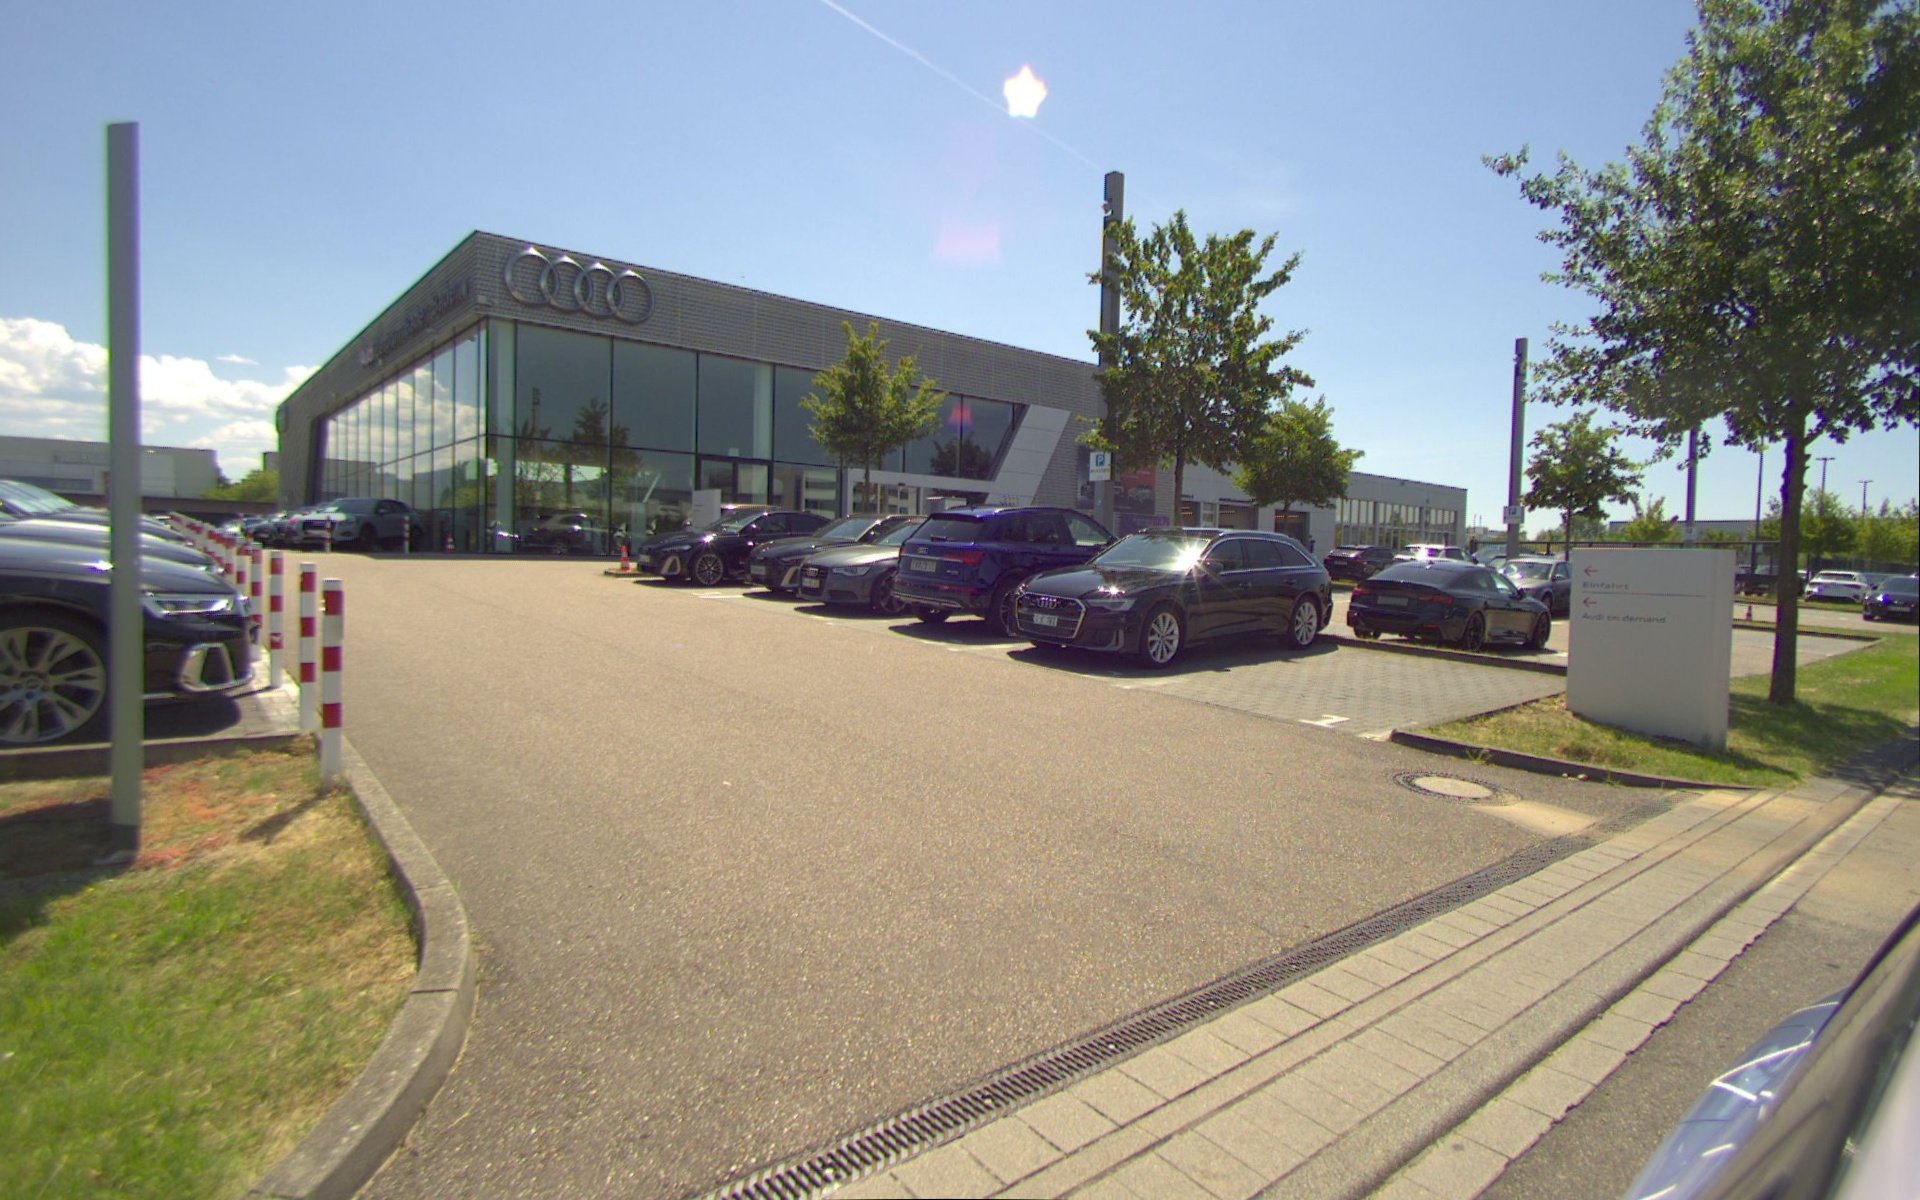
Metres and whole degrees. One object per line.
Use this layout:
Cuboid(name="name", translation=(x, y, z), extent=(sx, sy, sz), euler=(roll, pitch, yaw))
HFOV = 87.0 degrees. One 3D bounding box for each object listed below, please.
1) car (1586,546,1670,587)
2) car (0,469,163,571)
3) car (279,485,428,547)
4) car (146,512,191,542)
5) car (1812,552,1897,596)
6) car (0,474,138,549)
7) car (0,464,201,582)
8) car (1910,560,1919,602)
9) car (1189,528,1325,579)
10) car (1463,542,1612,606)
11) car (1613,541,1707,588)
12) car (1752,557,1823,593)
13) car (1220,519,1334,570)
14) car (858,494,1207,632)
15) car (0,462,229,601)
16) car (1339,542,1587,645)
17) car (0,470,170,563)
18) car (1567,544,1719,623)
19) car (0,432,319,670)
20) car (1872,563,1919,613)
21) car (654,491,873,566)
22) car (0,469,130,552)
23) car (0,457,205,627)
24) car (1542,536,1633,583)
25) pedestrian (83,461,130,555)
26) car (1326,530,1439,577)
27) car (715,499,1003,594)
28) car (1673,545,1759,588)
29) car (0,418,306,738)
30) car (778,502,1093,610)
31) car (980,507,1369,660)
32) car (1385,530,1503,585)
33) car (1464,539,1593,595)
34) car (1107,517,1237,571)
Cuboid(name="car", translation=(30.210, -1.509, 45.705), extent=(4.546, 1.649, 1.966), euler=(-1, 5, -41))
Cuboid(name="car", translation=(-15.233, -1.280, 15.422), extent=(4.816, 1.473, 2.031), euler=(-1, 6, -40))
Cuboid(name="car", translation=(-16.793, -2.349, 28.292), extent=(1.929, 1.573, 4.066), euler=(1, 5, -4))
Cuboid(name="car", translation=(-46.514, -4.307, 59.429), extent=(1.964, 1.625, 4.057), euler=(-3, 6, -39))
Cuboid(name="car", translation=(35.189, -1.026, 39.765), extent=(4.859, 1.546, 1.824), euler=(-1, 5, -41))
Cuboid(name="car", translation=(-20.608, -1.936, 21.542), extent=(4.816, 1.473, 2.031), euler=(-1, 6, -40))
Cuboid(name="car", translation=(-13.056, -1.039, 13.193), extent=(4.987, 1.474, 2.030), euler=(-1, 4, -40))
Cuboid(name="car", translation=(36.770, -0.650, 37.336), extent=(4.859, 1.485, 1.966), euler=(-1, 5, -41))
Cuboid(name="car", translation=(9.285, -1.423, 31.494), extent=(4.389, 1.382, 1.966), euler=(-1, 6, -41))
Cuboid(name="car", translation=(14.729, -0.669, 25.754), extent=(4.154, 1.382, 1.966), euler=(-1, 6, -41))
Cuboid(name="car", translation=(26.735, -1.337, 38.597), extent=(4.703, 1.663, 1.828), euler=(-1, 3, -41))
Cuboid(name="car", translation=(41.195, -1.242, 50.351), extent=(4.546, 1.649, 1.966), euler=(-1, 5, -41))
Cuboid(name="car", translation=(12.175, -2.102, 38.682), extent=(4.647, 1.759, 1.966), euler=(-1, 5, -41))
Cuboid(name="car", translation=(1.147, -0.605, 14.193), extent=(4.899, 1.616, 1.966), euler=(-3, 6, -40))
Cuboid(name="car", translation=(-11.253, -0.818, 11.229), extent=(4.987, 1.473, 2.031), euler=(-1, 6, -40))
Cuboid(name="car", translation=(8.495, -0.111, 16.907), extent=(4.637, 1.382, 1.967), euler=(1, 5, -41))
Cuboid(name="car", translation=(-16.574, -1.472, 17.277), extent=(4.816, 1.473, 2.031), euler=(-1, 6, -40))
Cuboid(name="car", translation=(16.220, -0.415, 23.981), extent=(4.154, 1.589, 1.892), euler=(-1, 6, -41))
Cuboid(name="car", translation=(-7.668, -0.410, 6.908), extent=(5.379, 1.591, 1.902), euler=(-1, 6, -40))
Cuboid(name="car", translation=(31.492, -0.376, 33.064), extent=(4.937, 1.472, 1.884), euler=(-1, 6, -42))
Cuboid(name="car", translation=(-4.674, -1.736, 24.500), extent=(4.899, 1.639, 1.966), euler=(-3, 6, -40))
Cuboid(name="car", translation=(-18.887, -1.767, 19.236), extent=(4.816, 1.473, 2.031), euler=(-1, 6, -40))
Cuboid(name="car", translation=(-9.797, -0.592, 8.900), extent=(4.987, 1.473, 2.031), euler=(-1, 6, -40))
Cuboid(name="car", translation=(25.409, -1.619, 40.920), extent=(4.341, 1.714, 1.829), euler=(-1, 6, -41))
Cuboid(name="pedestrian", translation=(-16.364, -1.751, 19.406), extent=(0.626, 1.716, 0.712), euler=(3, 0, -40))
Cuboid(name="car", translation=(14.970, -1.636, 35.769), extent=(4.297, 1.494, 1.966), euler=(-1, 5, -41))
Cuboid(name="car", translation=(-1.702, -1.014, 18.136), extent=(4.899, 1.473, 1.966), euler=(-3, 6, -40))
Cuboid(name="car", translation=(32.317, -1.417, 43.242), extent=(4.546, 1.649, 1.966), euler=(-1, 5, -41))
Cuboid(name="car", translation=(-6.244, -0.187, 4.745), extent=(5.146, 1.532, 2.031), euler=(-1, 6, -40))
Cuboid(name="car", translation=(-0.272, -0.772, 16.170), extent=(4.899, 1.473, 1.966), euler=(-3, 6, -40))
Cuboid(name="car", translation=(2.720, -0.330, 12.129), extent=(4.899, 1.473, 1.966), euler=(-3, 6, -40))
Cuboid(name="car", translation=(16.027, -1.389, 33.442), extent=(4.214, 1.632, 1.966), euler=(-1, 5, -41))
Cuboid(name="car", translation=(18.102, -1.037, 32.130), extent=(4.919, 1.571, 1.966), euler=(-1, 5, -41))
Cuboid(name="car", translation=(7.291, -1.888, 34.666), extent=(4.347, 1.610, 1.968), euler=(0, 6, -38))
